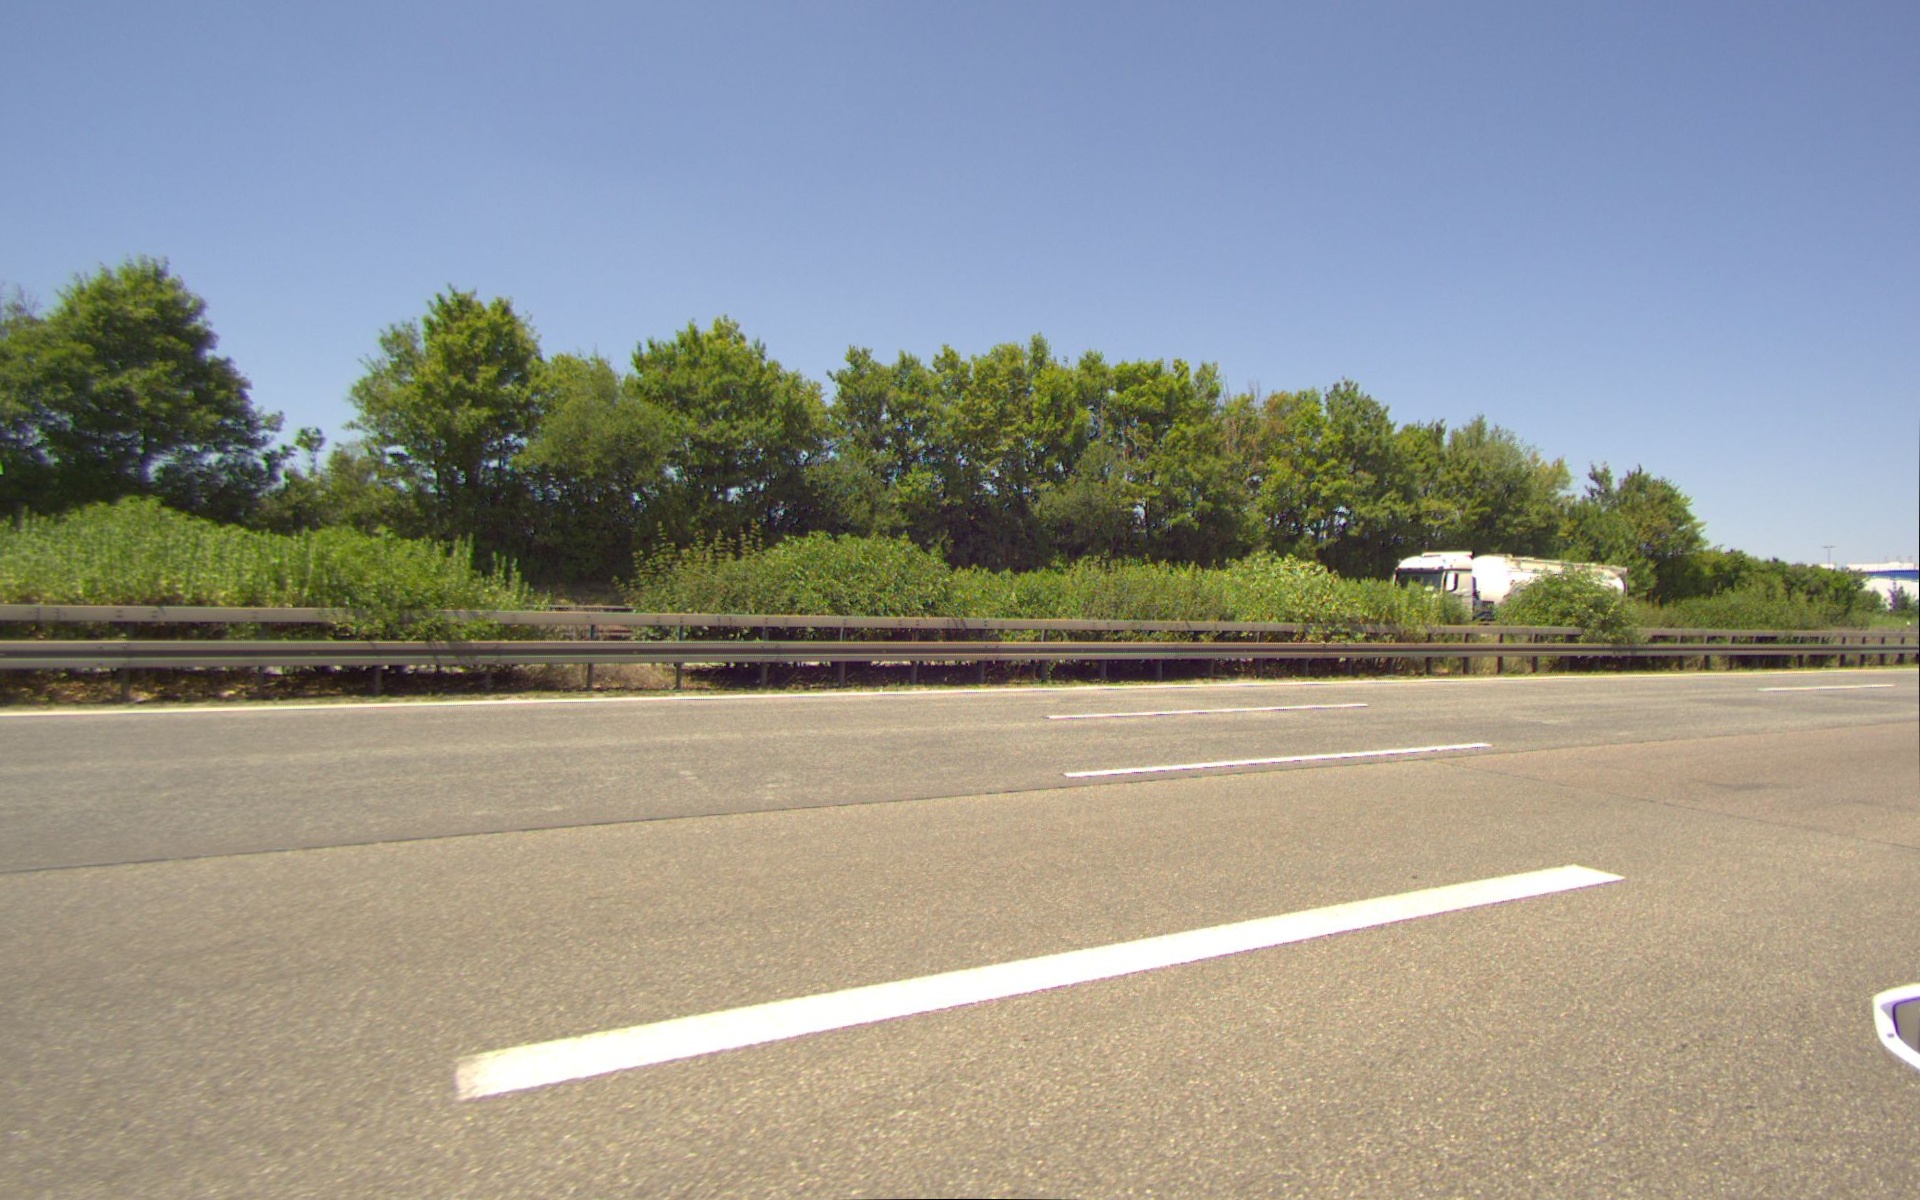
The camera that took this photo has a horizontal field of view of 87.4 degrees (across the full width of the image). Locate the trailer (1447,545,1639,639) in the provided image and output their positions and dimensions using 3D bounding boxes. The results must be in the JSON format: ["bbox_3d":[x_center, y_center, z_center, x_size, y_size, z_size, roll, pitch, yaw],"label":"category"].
[{"bbox_3d":[26.360,-0.297,45.277,9.607,3.941,2.680,1,1,-27],"label":"trailer"}]

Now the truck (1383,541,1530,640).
[{"bbox_3d":[21.057,-0.371,42.591,5.670,3.941,2.685,1,1,-27],"label":"truck"}]
